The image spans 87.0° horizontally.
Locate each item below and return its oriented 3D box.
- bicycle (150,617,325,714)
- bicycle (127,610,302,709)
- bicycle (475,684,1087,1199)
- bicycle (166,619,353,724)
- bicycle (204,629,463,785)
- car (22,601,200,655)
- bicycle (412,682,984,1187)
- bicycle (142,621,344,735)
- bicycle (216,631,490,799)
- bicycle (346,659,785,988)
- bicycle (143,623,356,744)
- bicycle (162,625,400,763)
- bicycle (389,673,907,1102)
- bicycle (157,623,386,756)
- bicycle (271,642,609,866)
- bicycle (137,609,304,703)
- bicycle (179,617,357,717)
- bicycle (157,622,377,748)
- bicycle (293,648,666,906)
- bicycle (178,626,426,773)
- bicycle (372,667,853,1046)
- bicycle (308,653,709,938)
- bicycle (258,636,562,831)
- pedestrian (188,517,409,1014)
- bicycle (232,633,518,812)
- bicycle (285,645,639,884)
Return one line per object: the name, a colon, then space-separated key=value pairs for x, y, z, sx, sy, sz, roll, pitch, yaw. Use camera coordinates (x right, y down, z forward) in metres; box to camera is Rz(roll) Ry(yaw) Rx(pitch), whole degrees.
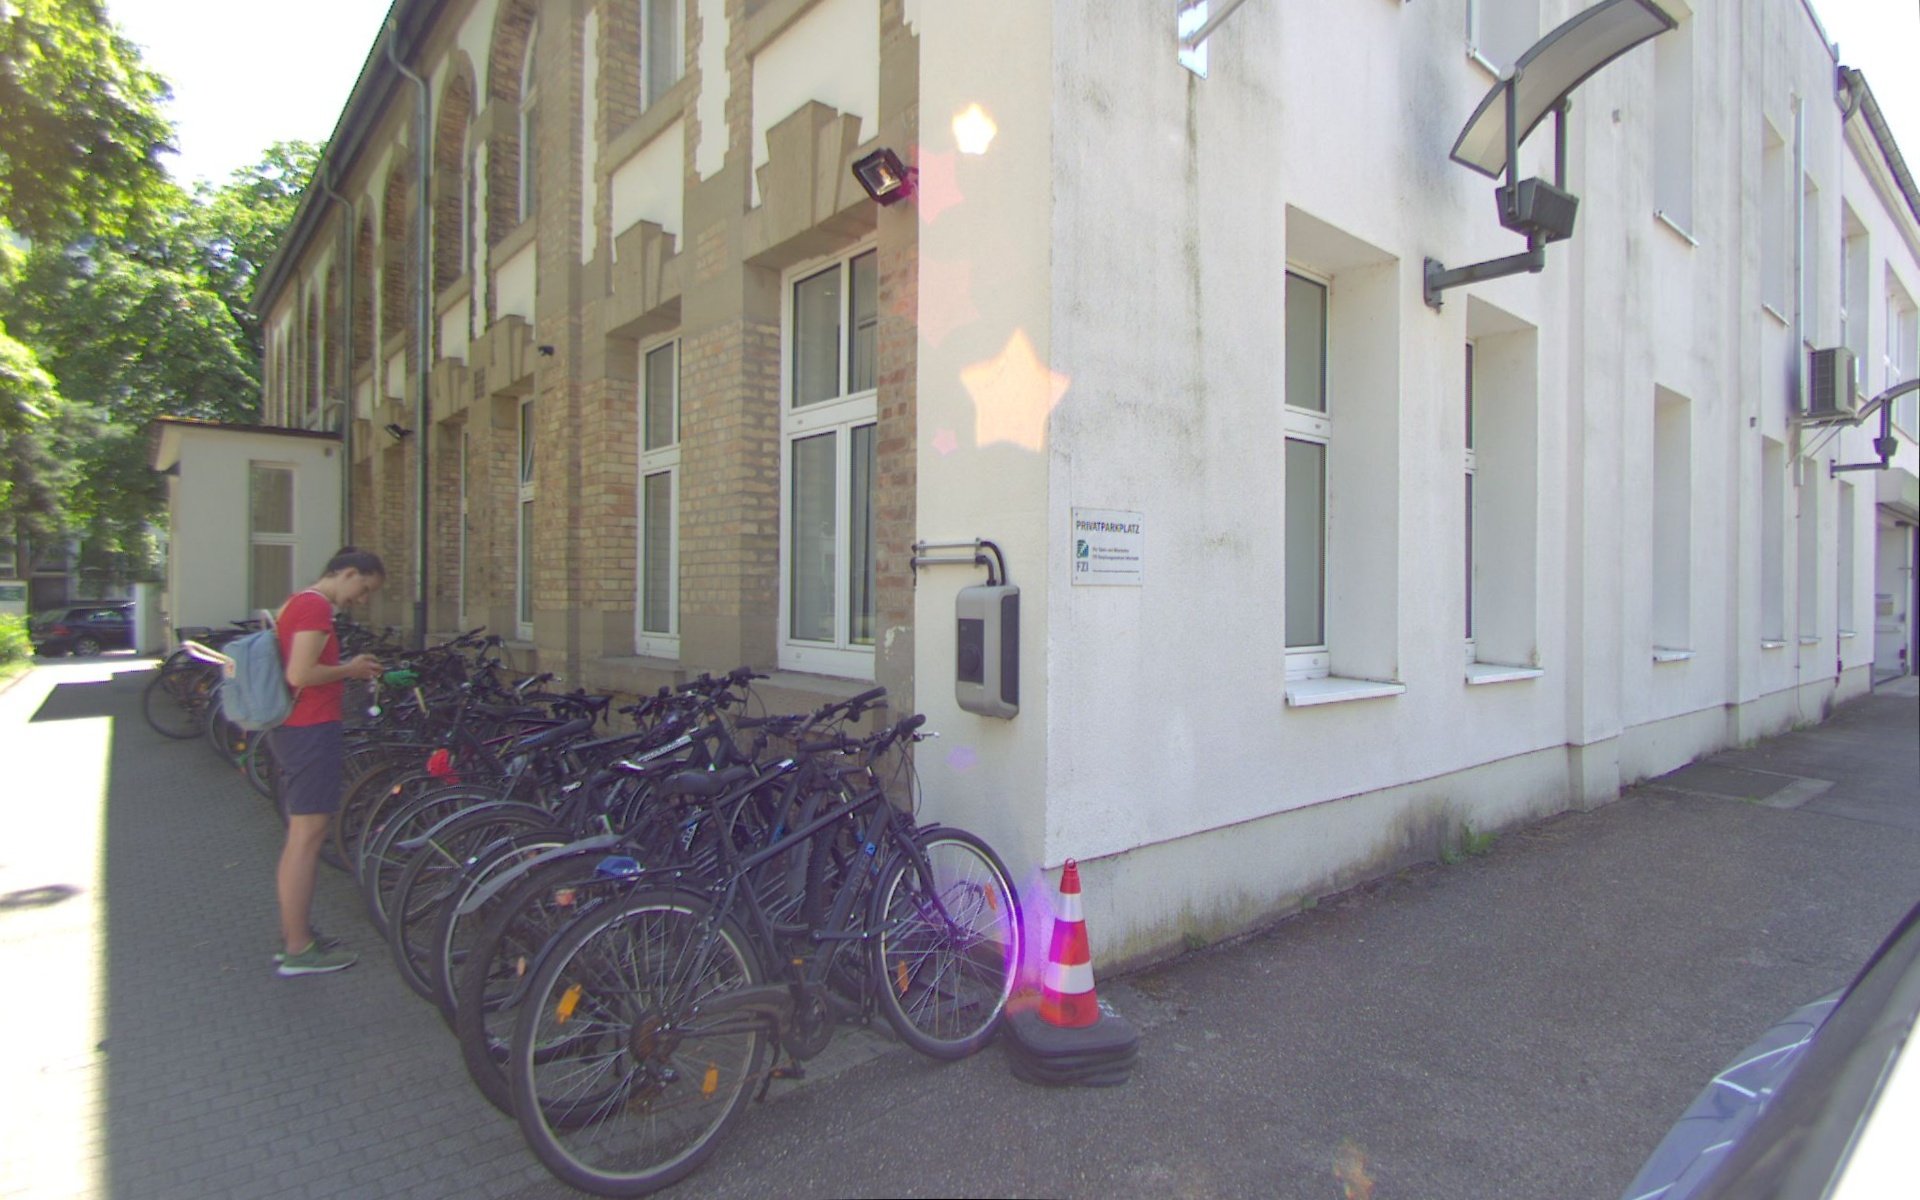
bicycle: x=-9.189 y=0.800 z=12.926 sx=1.794 sy=1.115 sz=0.406 roll=-1 pitch=1 yaw=-40
bicycle: x=-9.846 y=0.752 z=13.421 sx=1.795 sy=1.115 sz=0.406 roll=-5 pitch=3 yaw=-40
bicycle: x=-0.391 y=0.881 z=2.946 sx=1.794 sy=1.115 sz=0.406 roll=-1 pitch=1 yaw=-40
bicycle: x=-8.310 y=0.810 z=12.059 sx=1.794 sy=1.115 sz=0.406 roll=-1 pitch=1 yaw=-40
bicycle: x=-5.178 y=0.833 z=8.448 sx=1.794 sy=1.115 sz=0.406 roll=-1 pitch=1 yaw=-40
car: x=-23.901 y=0.740 z=28.626 sx=1.635 sy=1.359 sz=3.503 roll=0 pitch=1 yaw=23
bicycle: x=-0.727 y=0.900 z=3.276 sx=1.794 sy=1.115 sz=0.406 roll=-1 pitch=1 yaw=-40
bicycle: x=-7.900 y=0.823 z=11.207 sx=1.794 sy=1.115 sz=0.406 roll=-1 pitch=1 yaw=-40
bicycle: x=-4.695 y=0.840 z=7.924 sx=1.794 sy=1.115 sz=0.406 roll=-1 pitch=1 yaw=-40
bicycle: x=-1.672 y=0.883 z=4.530 sx=1.794 sy=1.115 sz=0.406 roll=-1 pitch=1 yaw=-40
bicycle: x=-7.412 y=0.831 z=10.620 sx=1.794 sy=1.115 sz=0.406 roll=-1 pitch=1 yaw=-40
bicycle: x=-6.250 y=0.822 z=9.387 sx=1.794 sy=1.115 sz=0.406 roll=-1 pitch=1 yaw=-40
bicycle: x=-1.031 y=0.894 z=3.697 sx=1.794 sy=1.115 sz=0.406 roll=-1 pitch=1 yaw=-40
bicycle: x=-6.609 y=0.817 z=9.786 sx=1.794 sy=1.115 sz=0.406 roll=-1 pitch=1 yaw=-40
bicycle: x=-3.114 y=0.861 z=6.202 sx=1.794 sy=1.115 sz=0.406 roll=-1 pitch=1 yaw=-40
bicycle: x=-10.236 y=0.742 z=14.061 sx=1.795 sy=1.115 sz=0.406 roll=-5 pitch=3 yaw=-40
bicycle: x=-8.607 y=0.801 z=12.641 sx=1.794 sy=1.115 sz=0.406 roll=-1 pitch=1 yaw=-40
bicycle: x=-6.934 y=0.812 z=10.196 sx=1.794 sy=1.115 sz=0.406 roll=-1 pitch=1 yaw=-40
bicycle: x=-2.541 y=0.870 z=5.517 sx=1.794 sy=1.115 sz=0.406 roll=-1 pitch=1 yaw=-40
bicycle: x=-5.767 y=0.827 z=8.950 sx=1.794 sy=1.115 sz=0.406 roll=-1 pitch=1 yaw=-40
bicycle: x=-1.291 y=0.890 z=4.052 sx=1.794 sy=1.115 sz=0.406 roll=-1 pitch=1 yaw=-40
bicycle: x=-2.177 y=0.876 z=5.074 sx=1.794 sy=1.115 sz=0.406 roll=-1 pitch=1 yaw=-40
bicycle: x=-3.727 y=0.851 z=6.976 sx=1.794 sy=1.115 sz=0.406 roll=-1 pitch=1 yaw=-40
pedestrian: x=-2.633 y=0.581 z=4.027 sx=0.677 sy=1.770 sz=0.552 roll=-1 pitch=1 yaw=-39
bicycle: x=-4.285 y=0.844 z=7.520 sx=1.794 sy=1.115 sz=0.406 roll=-1 pitch=1 yaw=-40
bicycle: x=-2.814 y=0.866 z=5.865 sx=1.794 sy=1.115 sz=0.406 roll=-1 pitch=1 yaw=-40
